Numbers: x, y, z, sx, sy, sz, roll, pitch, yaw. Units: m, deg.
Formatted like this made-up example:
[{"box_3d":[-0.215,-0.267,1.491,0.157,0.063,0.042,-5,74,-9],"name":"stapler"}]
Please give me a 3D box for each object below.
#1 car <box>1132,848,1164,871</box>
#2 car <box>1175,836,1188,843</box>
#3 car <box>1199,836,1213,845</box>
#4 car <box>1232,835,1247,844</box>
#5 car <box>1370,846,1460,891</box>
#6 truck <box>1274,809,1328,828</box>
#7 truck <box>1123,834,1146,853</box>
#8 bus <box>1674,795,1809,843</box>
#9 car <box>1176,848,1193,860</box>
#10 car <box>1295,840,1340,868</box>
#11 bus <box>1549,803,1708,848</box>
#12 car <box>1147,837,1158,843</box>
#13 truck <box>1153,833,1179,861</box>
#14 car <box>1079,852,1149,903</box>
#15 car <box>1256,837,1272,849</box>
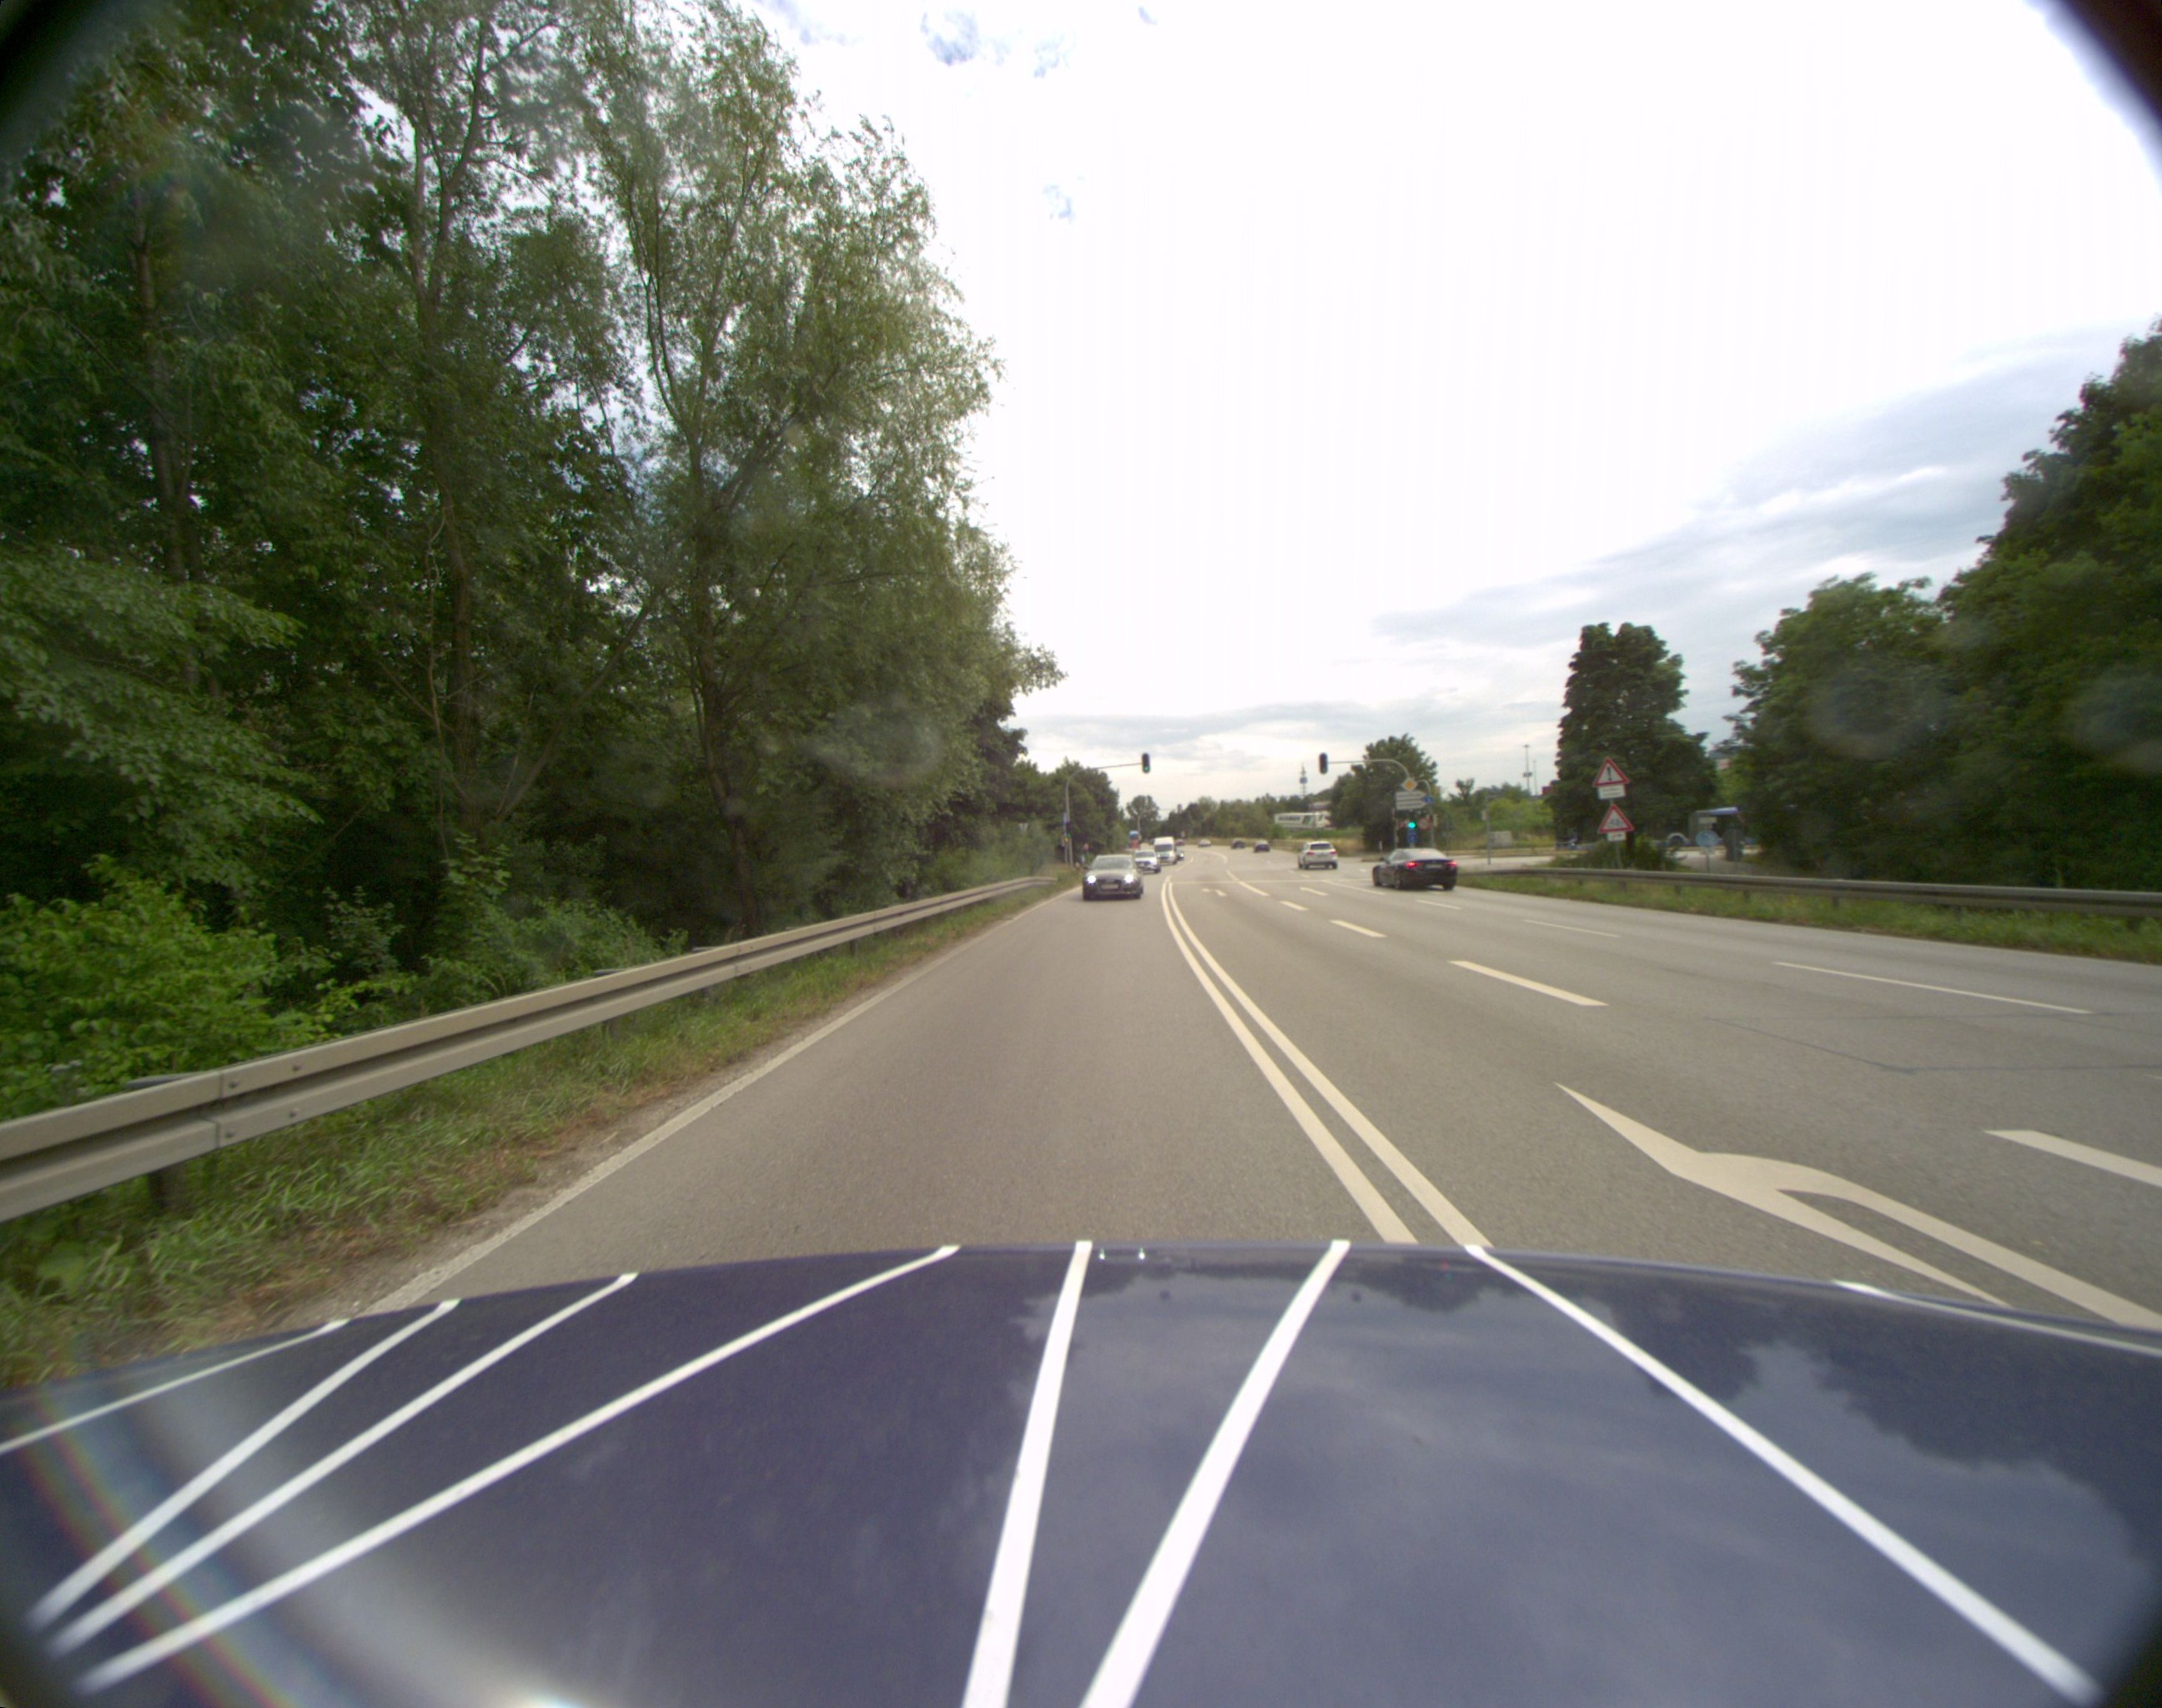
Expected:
[{"box_3d":[4.620,0.370,52.031,1.825,1.489,4.227,-1,0,9],"name":"car"},{"box_3d":[22.779,-3.358,172.279,1.745,1.378,3.996,-5,2,-8],"name":"car"},{"box_3d":[24.902,-2.667,151.117,1.745,1.477,3.998,-5,1,-4],"name":"car"},{"box_3d":[25.808,-2.335,123.766,1.744,1.377,4.000,-4,1,3],"name":"car"},{"box_3d":[11.962,0.484,27.519,1.721,1.489,4.550,-1,0,7],"name":"car"},{"box_3d":[52.871,-8.694,183.044,3.367,4.303,14.171,-3,5,-29],"name":"truck"},{"box_3d":[13.007,-2.484,185.838,3.030,4.325,9.560,-2,1,-12],"name":"truck"},{"box_3d":[51.380,-2.667,59.222,7.820,3.328,3.121,-2,1,-1],"name":"bus"},{"box_3d":[12.013,0.015,87.868,1.742,1.317,4.003,0,0,12],"name":"car"},{"box_3d":[14.735,-0.036,47.584,1.861,1.634,4.739,-1,0,8],"name":"car"},{"box_3d":[42.427,-2.160,59.092,10.066,3.029,3.121,-2,1,-1],"name":"bus"},{"box_3d":[18.412,-3.665,196.850,1.745,1.378,3.995,-5,2,-10],"name":"car"},{"box_3d":[8.411,-0.696,74.659,2.378,2.579,6.001,-2,1,7],"name":"truck"},{"box_3d":[1.227,0.724,25.892,1.964,1.447,4.798,-2,1,7],"name":"car"},{"box_3d":[23.102,-1.382,95.922,1.742,1.477,4.203,-2,1,12],"name":"car"}]
